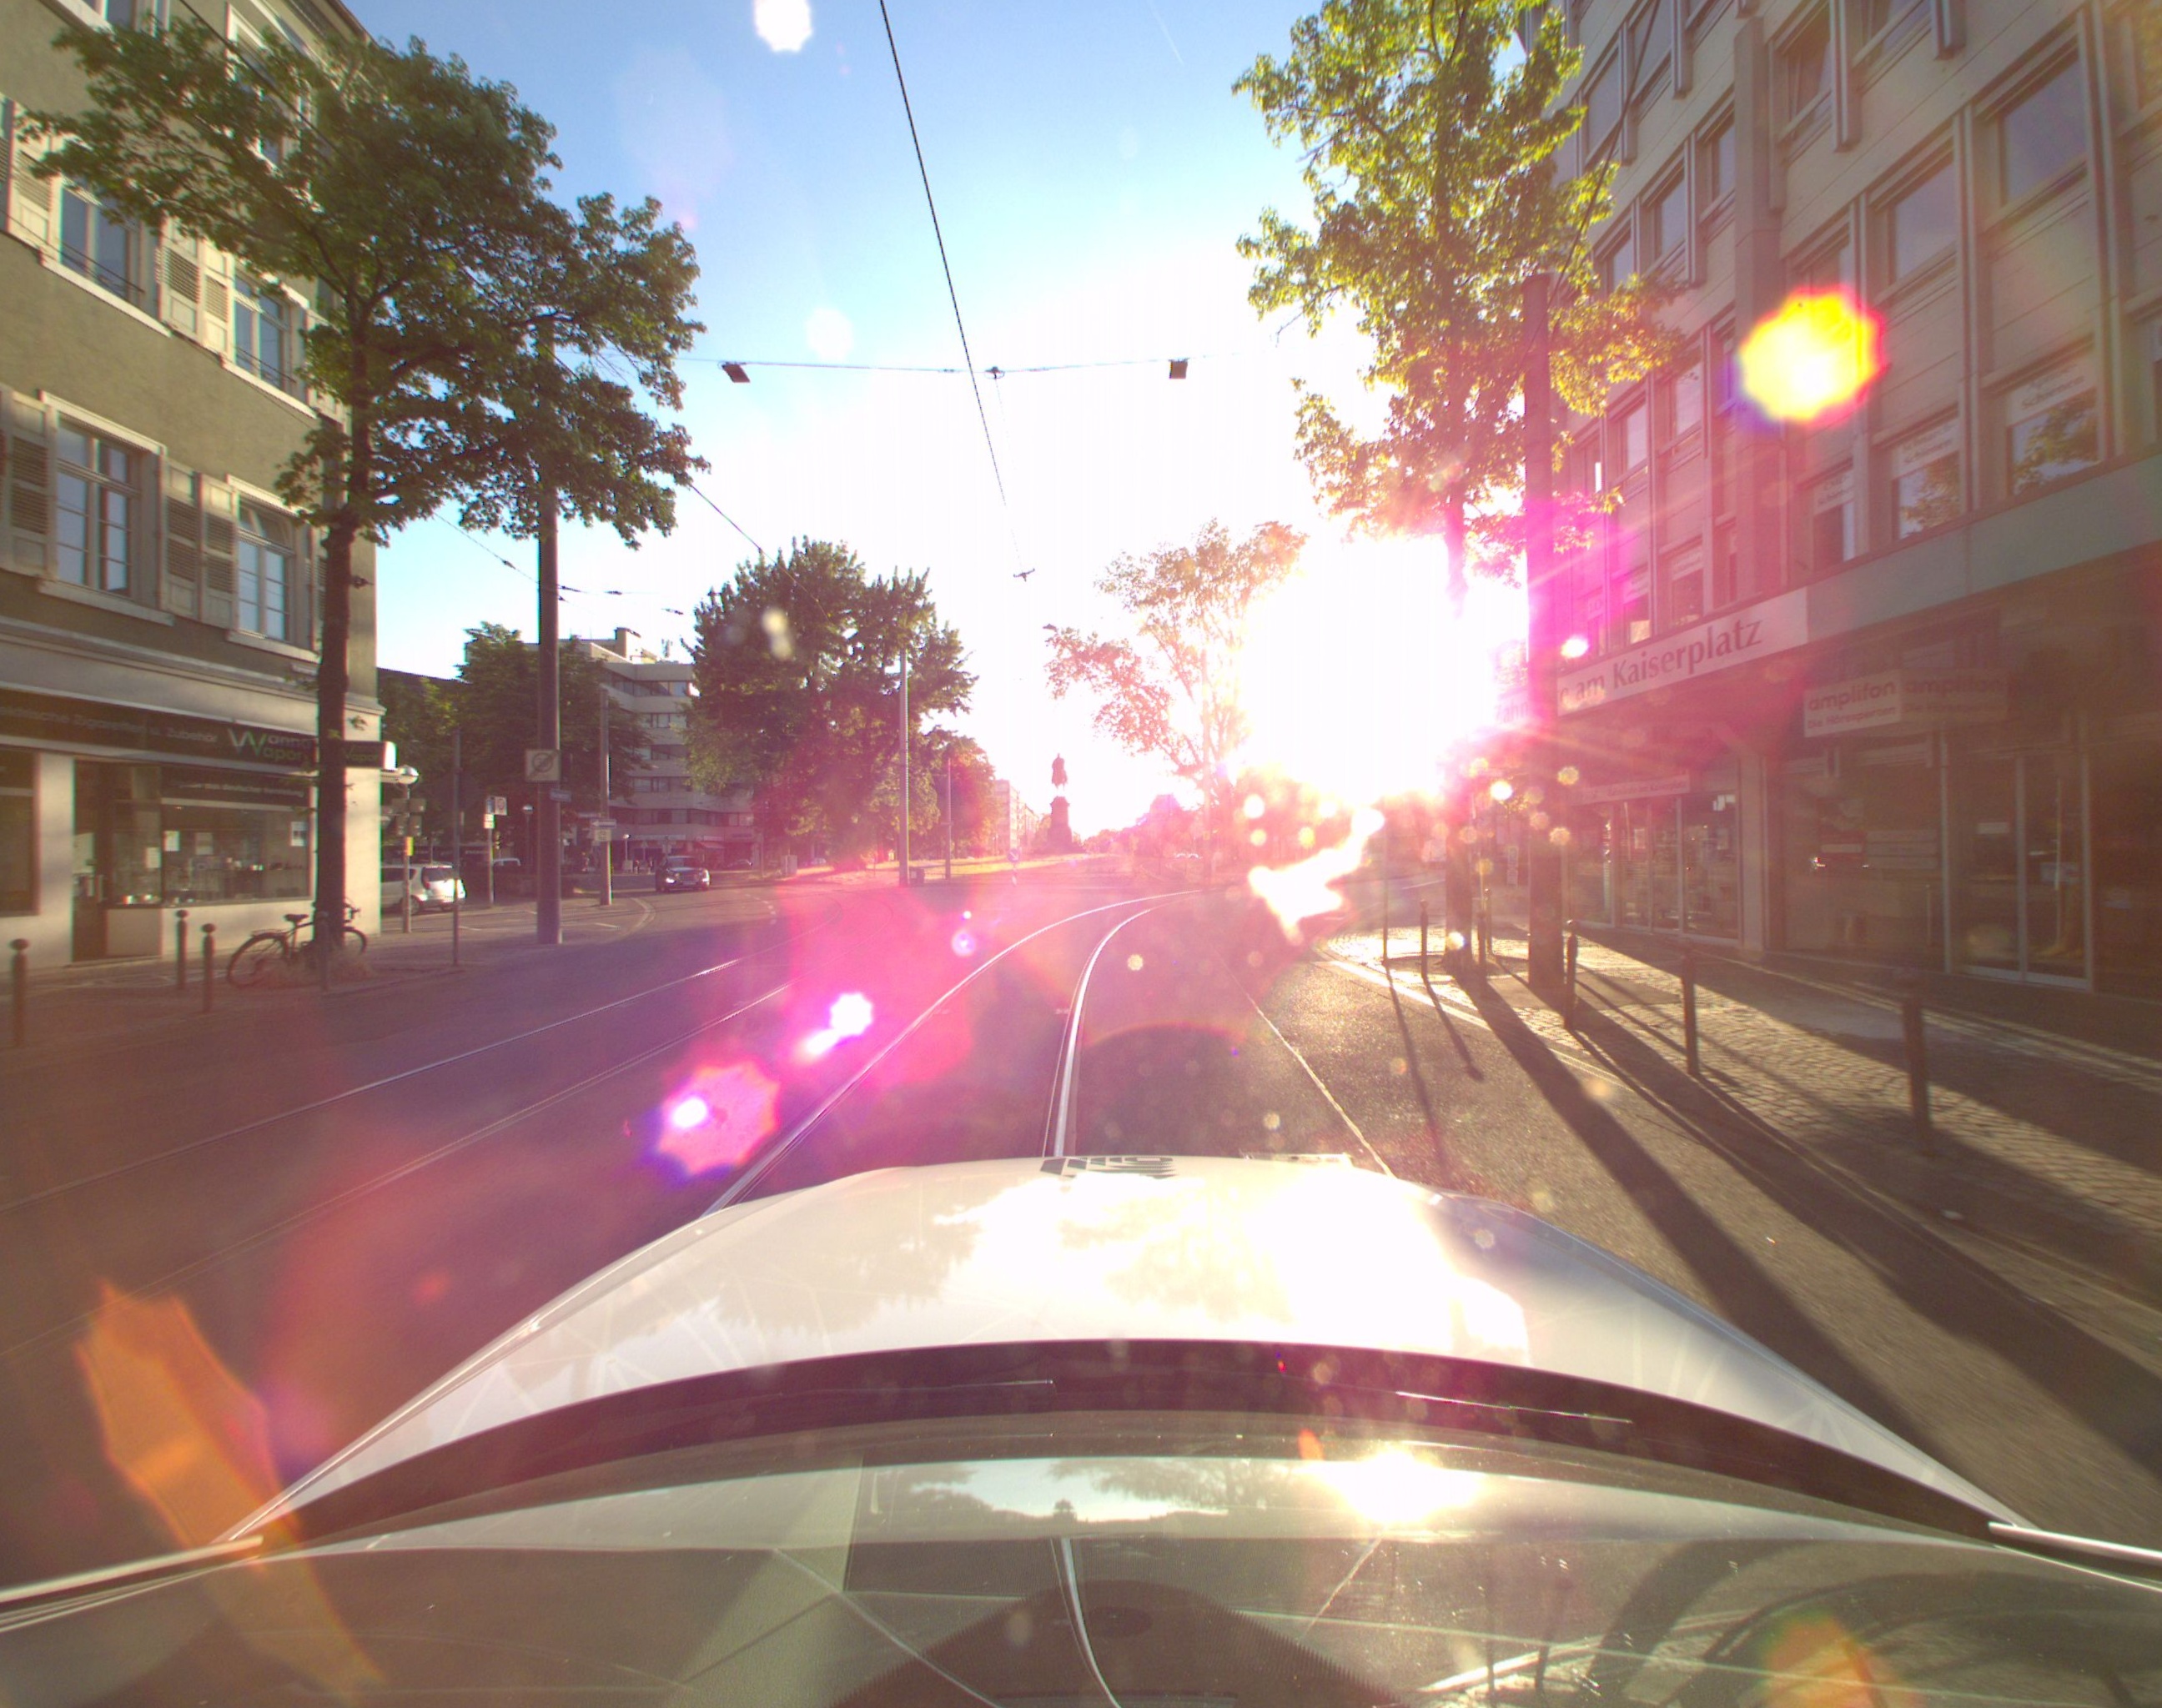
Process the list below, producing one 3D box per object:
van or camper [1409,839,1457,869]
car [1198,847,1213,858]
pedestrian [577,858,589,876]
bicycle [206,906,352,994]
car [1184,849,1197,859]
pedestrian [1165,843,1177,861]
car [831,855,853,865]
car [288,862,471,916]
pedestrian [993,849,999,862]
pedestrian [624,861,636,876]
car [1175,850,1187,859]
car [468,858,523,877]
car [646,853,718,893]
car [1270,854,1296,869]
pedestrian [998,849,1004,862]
[{"bbox_3d":[30.798,-0.009,71.470,2.590,2.472,6.341,-1,0,12],"label":"van or camper"},{"bbox_3d":[23.303,-0.221,152.151,2.132,2.013,4.000,0,0,0],"label":"car"},{"bbox_3d":[-44.463,1.154,72.716,0.744,1.503,0.767,-1,0,-15],"label":"pedestrian"},{"bbox_3d":[-10.177,1.186,10.402,0.335,0.946,1.510,-1,0,1],"label":"bicycle"},{"bbox_3d":[22.456,-0.005,166.607,2.132,2.013,4.000,0,0,0],"label":"car"},{"bbox_3d":[7.906,-0.171,71.629,0.776,1.606,0.630,-1,0,-43],"label":"pedestrian"},{"bbox_3d":[-35.105,0.846,119.626,1.869,1.420,3.928,-1,0,2],"label":"car"},{"bbox_3d":[-21.206,1.029,24.751,3.976,1.515,1.727,0,0,-2],"label":"car"},{"bbox_3d":[-11.351,0.199,108.818,0.768,1.606,0.637,-1,0,-7],"label":"pedestrian"},{"bbox_3d":[-48.866,1.569,88.240,0.736,1.503,0.776,-1,0,23],"label":"pedestrian"},{"bbox_3d":[22.001,0.127,179.117,2.132,2.013,4.000,0,0,0],"label":"car"},{"bbox_3d":[-54.144,1.252,75.372,1.756,1.704,3.694,0,0,26],"label":"car"},{"bbox_3d":[-18.414,0.830,37.533,1.980,1.676,4.308,-1,0,-40],"label":"car"},{"bbox_3d":[27.849,1.023,112.243,1.994,1.969,3.986,-1,0,-10],"label":"car"},{"bbox_3d":[-10.635,0.188,108.356,0.768,1.606,0.637,-1,0,-7],"label":"pedestrian"}]
